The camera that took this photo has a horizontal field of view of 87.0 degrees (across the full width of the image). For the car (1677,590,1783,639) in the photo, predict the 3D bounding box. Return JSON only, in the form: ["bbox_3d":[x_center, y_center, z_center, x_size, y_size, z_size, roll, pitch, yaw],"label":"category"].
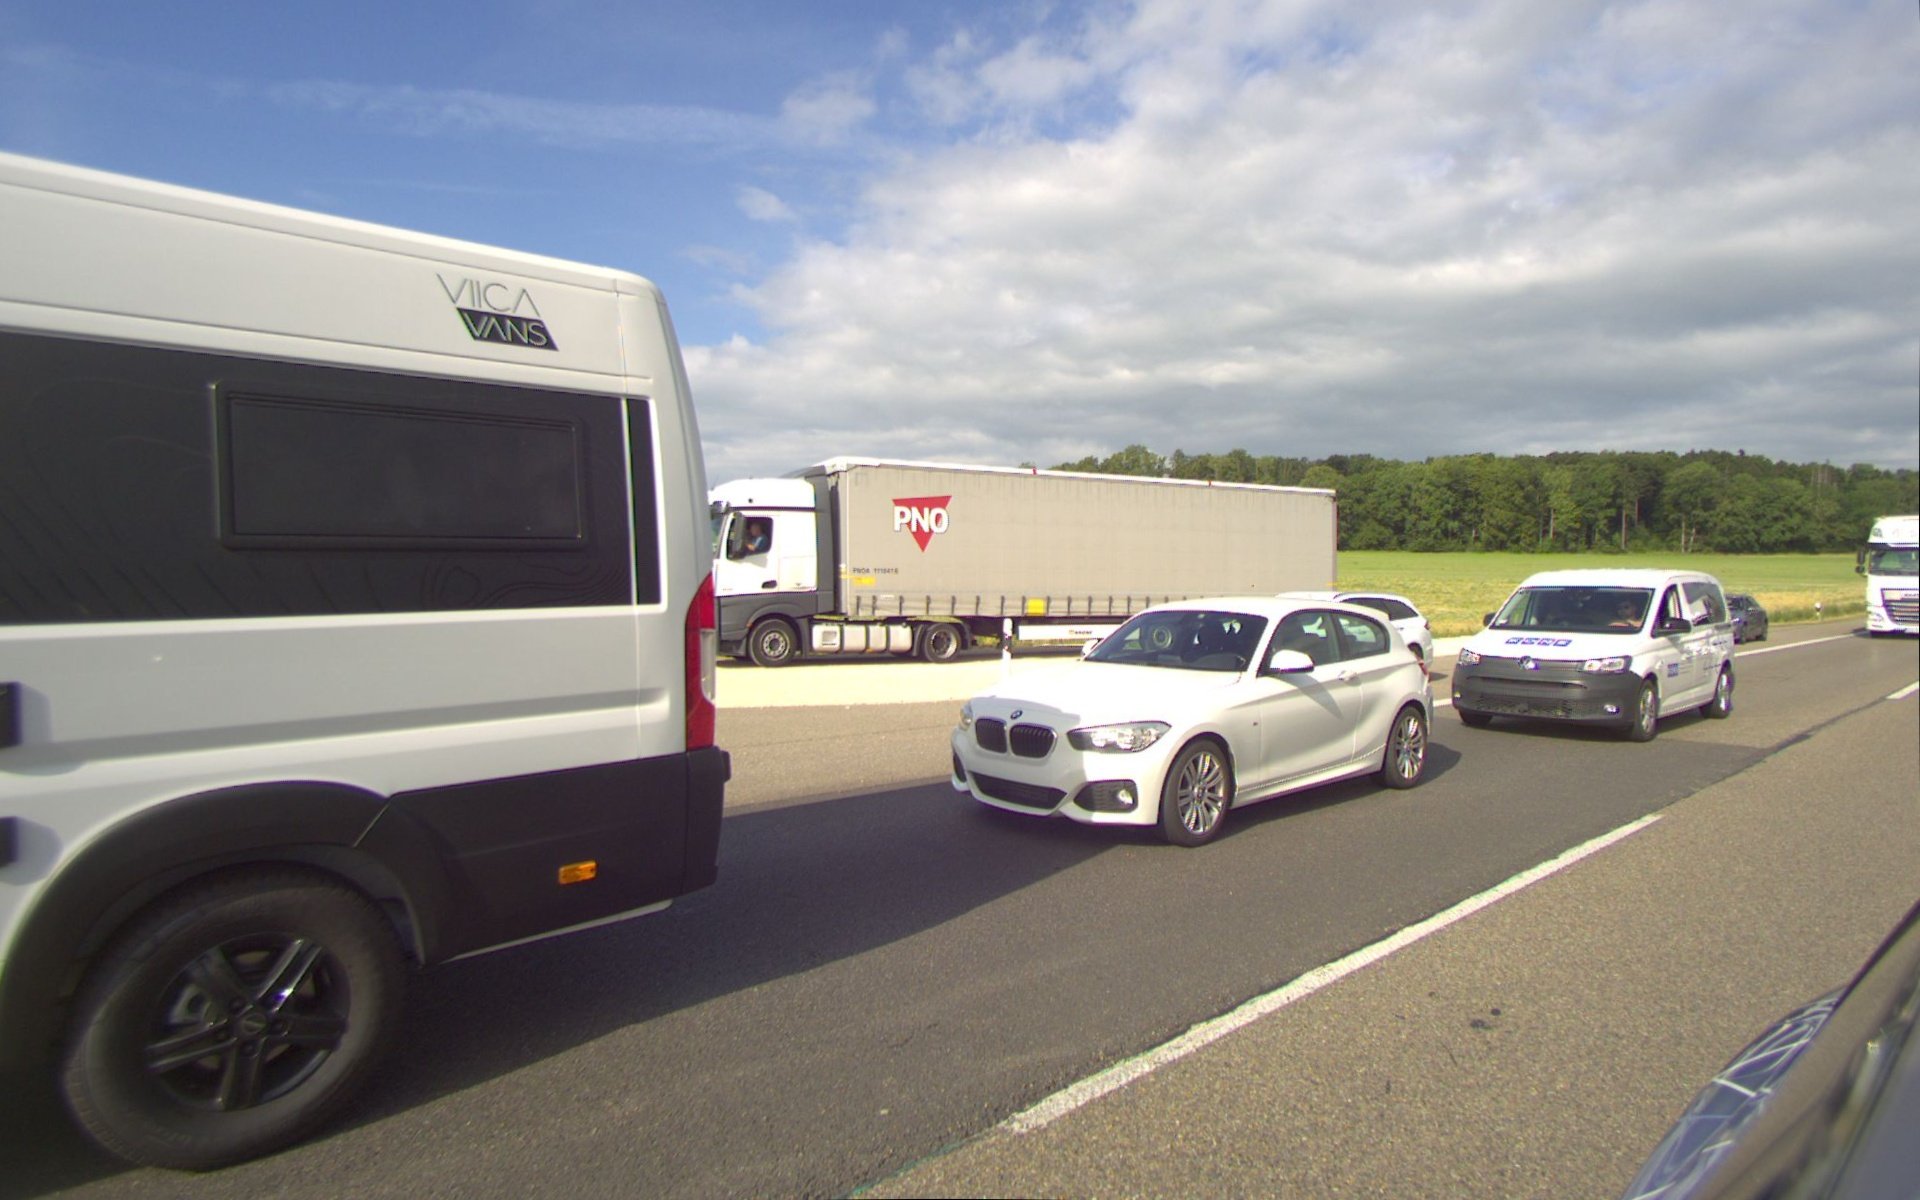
[{"bbox_3d":[23.034,0.390,30.217,4.110,1.370,1.706,0,0,-41],"label":"car"}]

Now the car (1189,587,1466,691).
[{"bbox_3d":[5.938,0.519,16.156,4.541,1.450,1.873,0,0,-34],"label":"car"}]

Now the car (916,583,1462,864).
[{"bbox_3d":[1.832,0.619,7.251,4.158,1.450,1.706,0,0,-41],"label":"car"}]

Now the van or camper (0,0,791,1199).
[{"bbox_3d":[-3.631,0.019,2.210,6.222,2.714,2.219,0,1,-41],"label":"van or camper"}]

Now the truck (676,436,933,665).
[{"bbox_3d":[-3.240,-0.924,20.958,4.662,4.226,2.727,0,0,-26],"label":"truck"}]

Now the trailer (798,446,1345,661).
[{"bbox_3d":[3.118,-0.926,24.051,13.543,4.213,2.748,0,0,-26],"label":"trailer"}]

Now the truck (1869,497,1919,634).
[{"bbox_3d":[31.999,-1.118,33.098,5.667,4.226,2.733,-1,1,-41],"label":"truck"}]

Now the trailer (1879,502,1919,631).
[{"bbox_3d":[36.662,-1.229,37.221,13.777,4.212,2.739,-1,1,-41],"label":"trailer"}]

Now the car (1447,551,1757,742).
[{"bbox_3d":[7.470,0.416,11.573,4.620,1.779,1.727,0,0,-41],"label":"car"}]
